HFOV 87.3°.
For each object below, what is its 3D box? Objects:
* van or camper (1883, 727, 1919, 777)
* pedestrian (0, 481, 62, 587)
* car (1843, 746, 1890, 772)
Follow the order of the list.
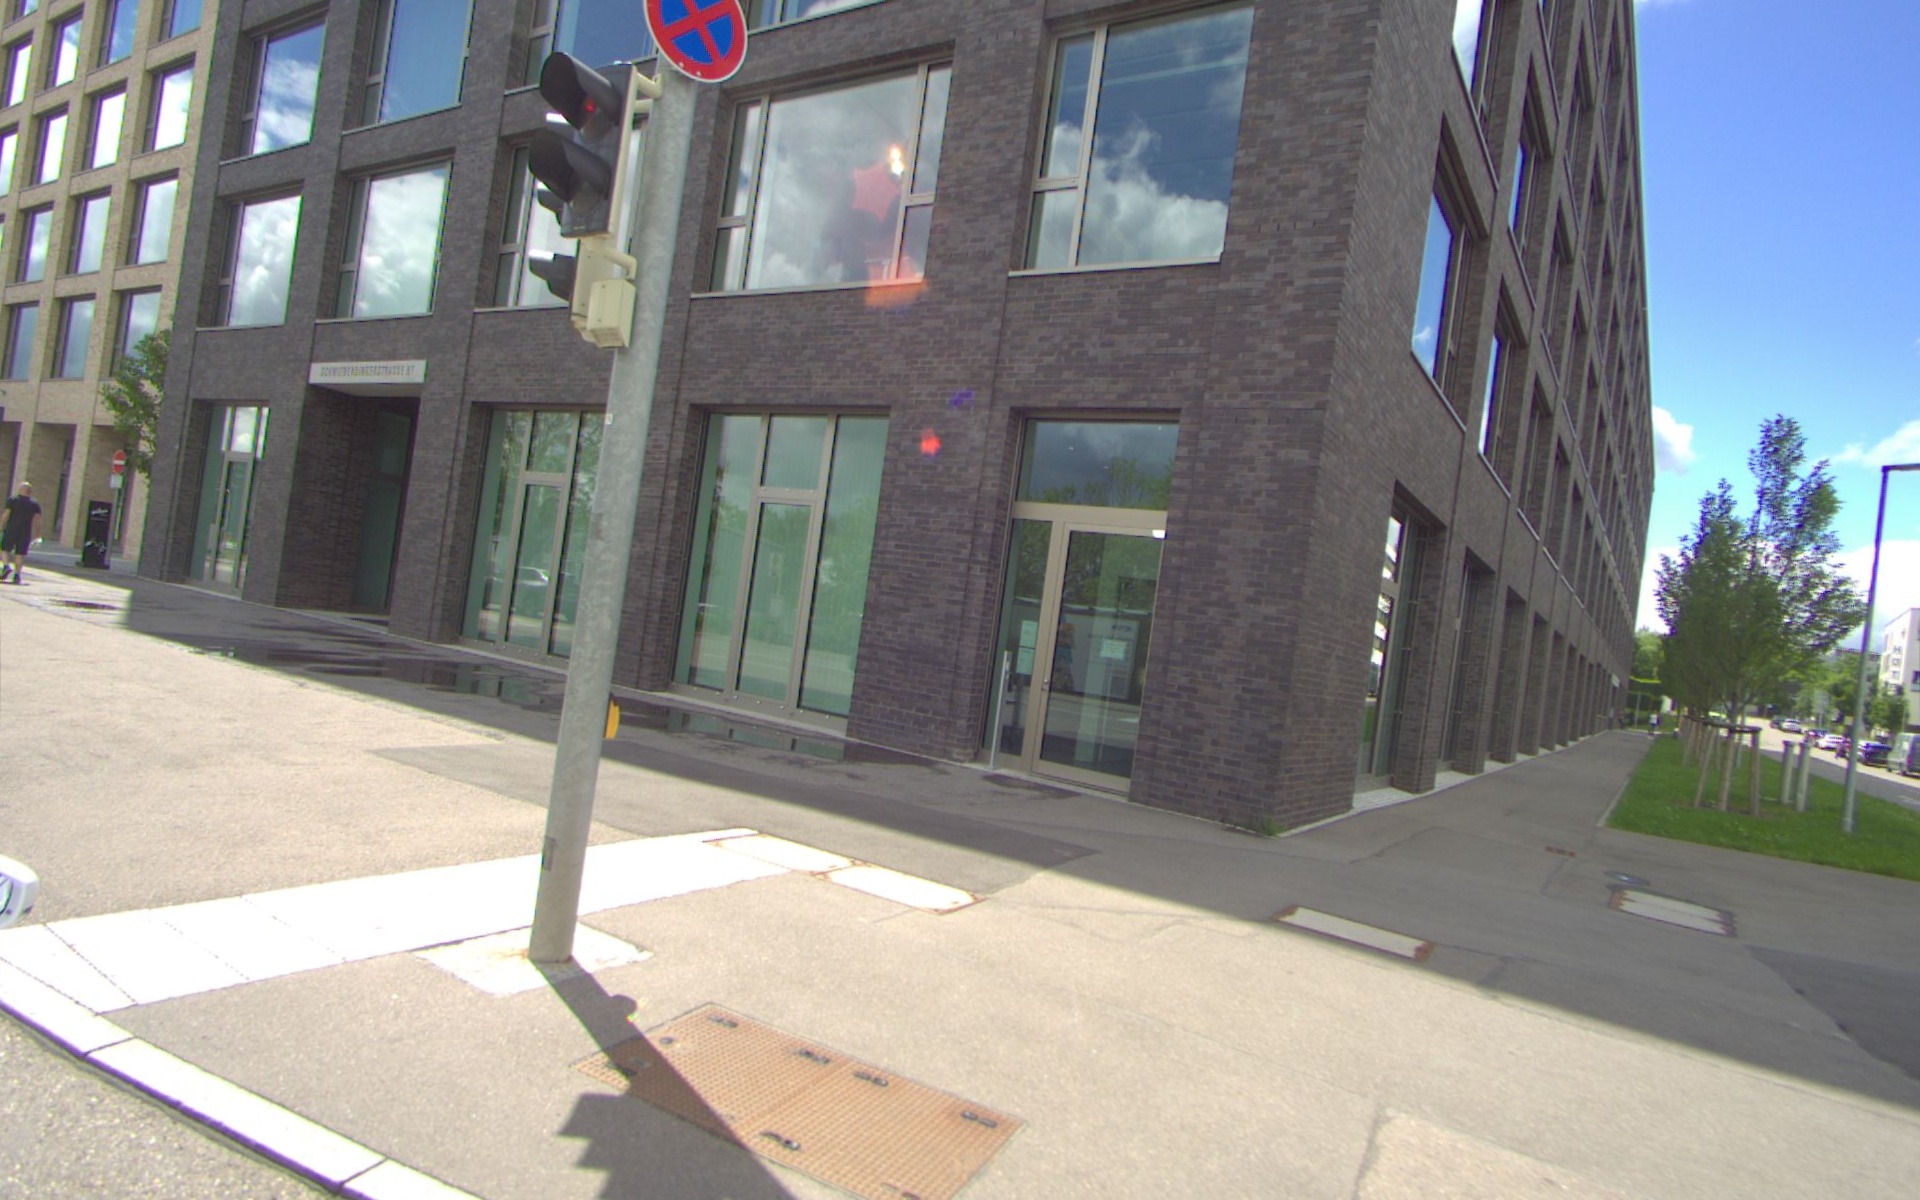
[{"bbox_3d":[58.043,9.274,60.834,1.966,2.770,5.117,7,-1,31],"label":"van or camper"},{"bbox_3d":[-16.720,-1.181,17.888,0.946,1.747,0.684,7,-1,31],"label":"pedestrian"},{"bbox_3d":[62.995,11.058,69.926,1.471,1.355,3.535,7,-1,28],"label":"car"}]
